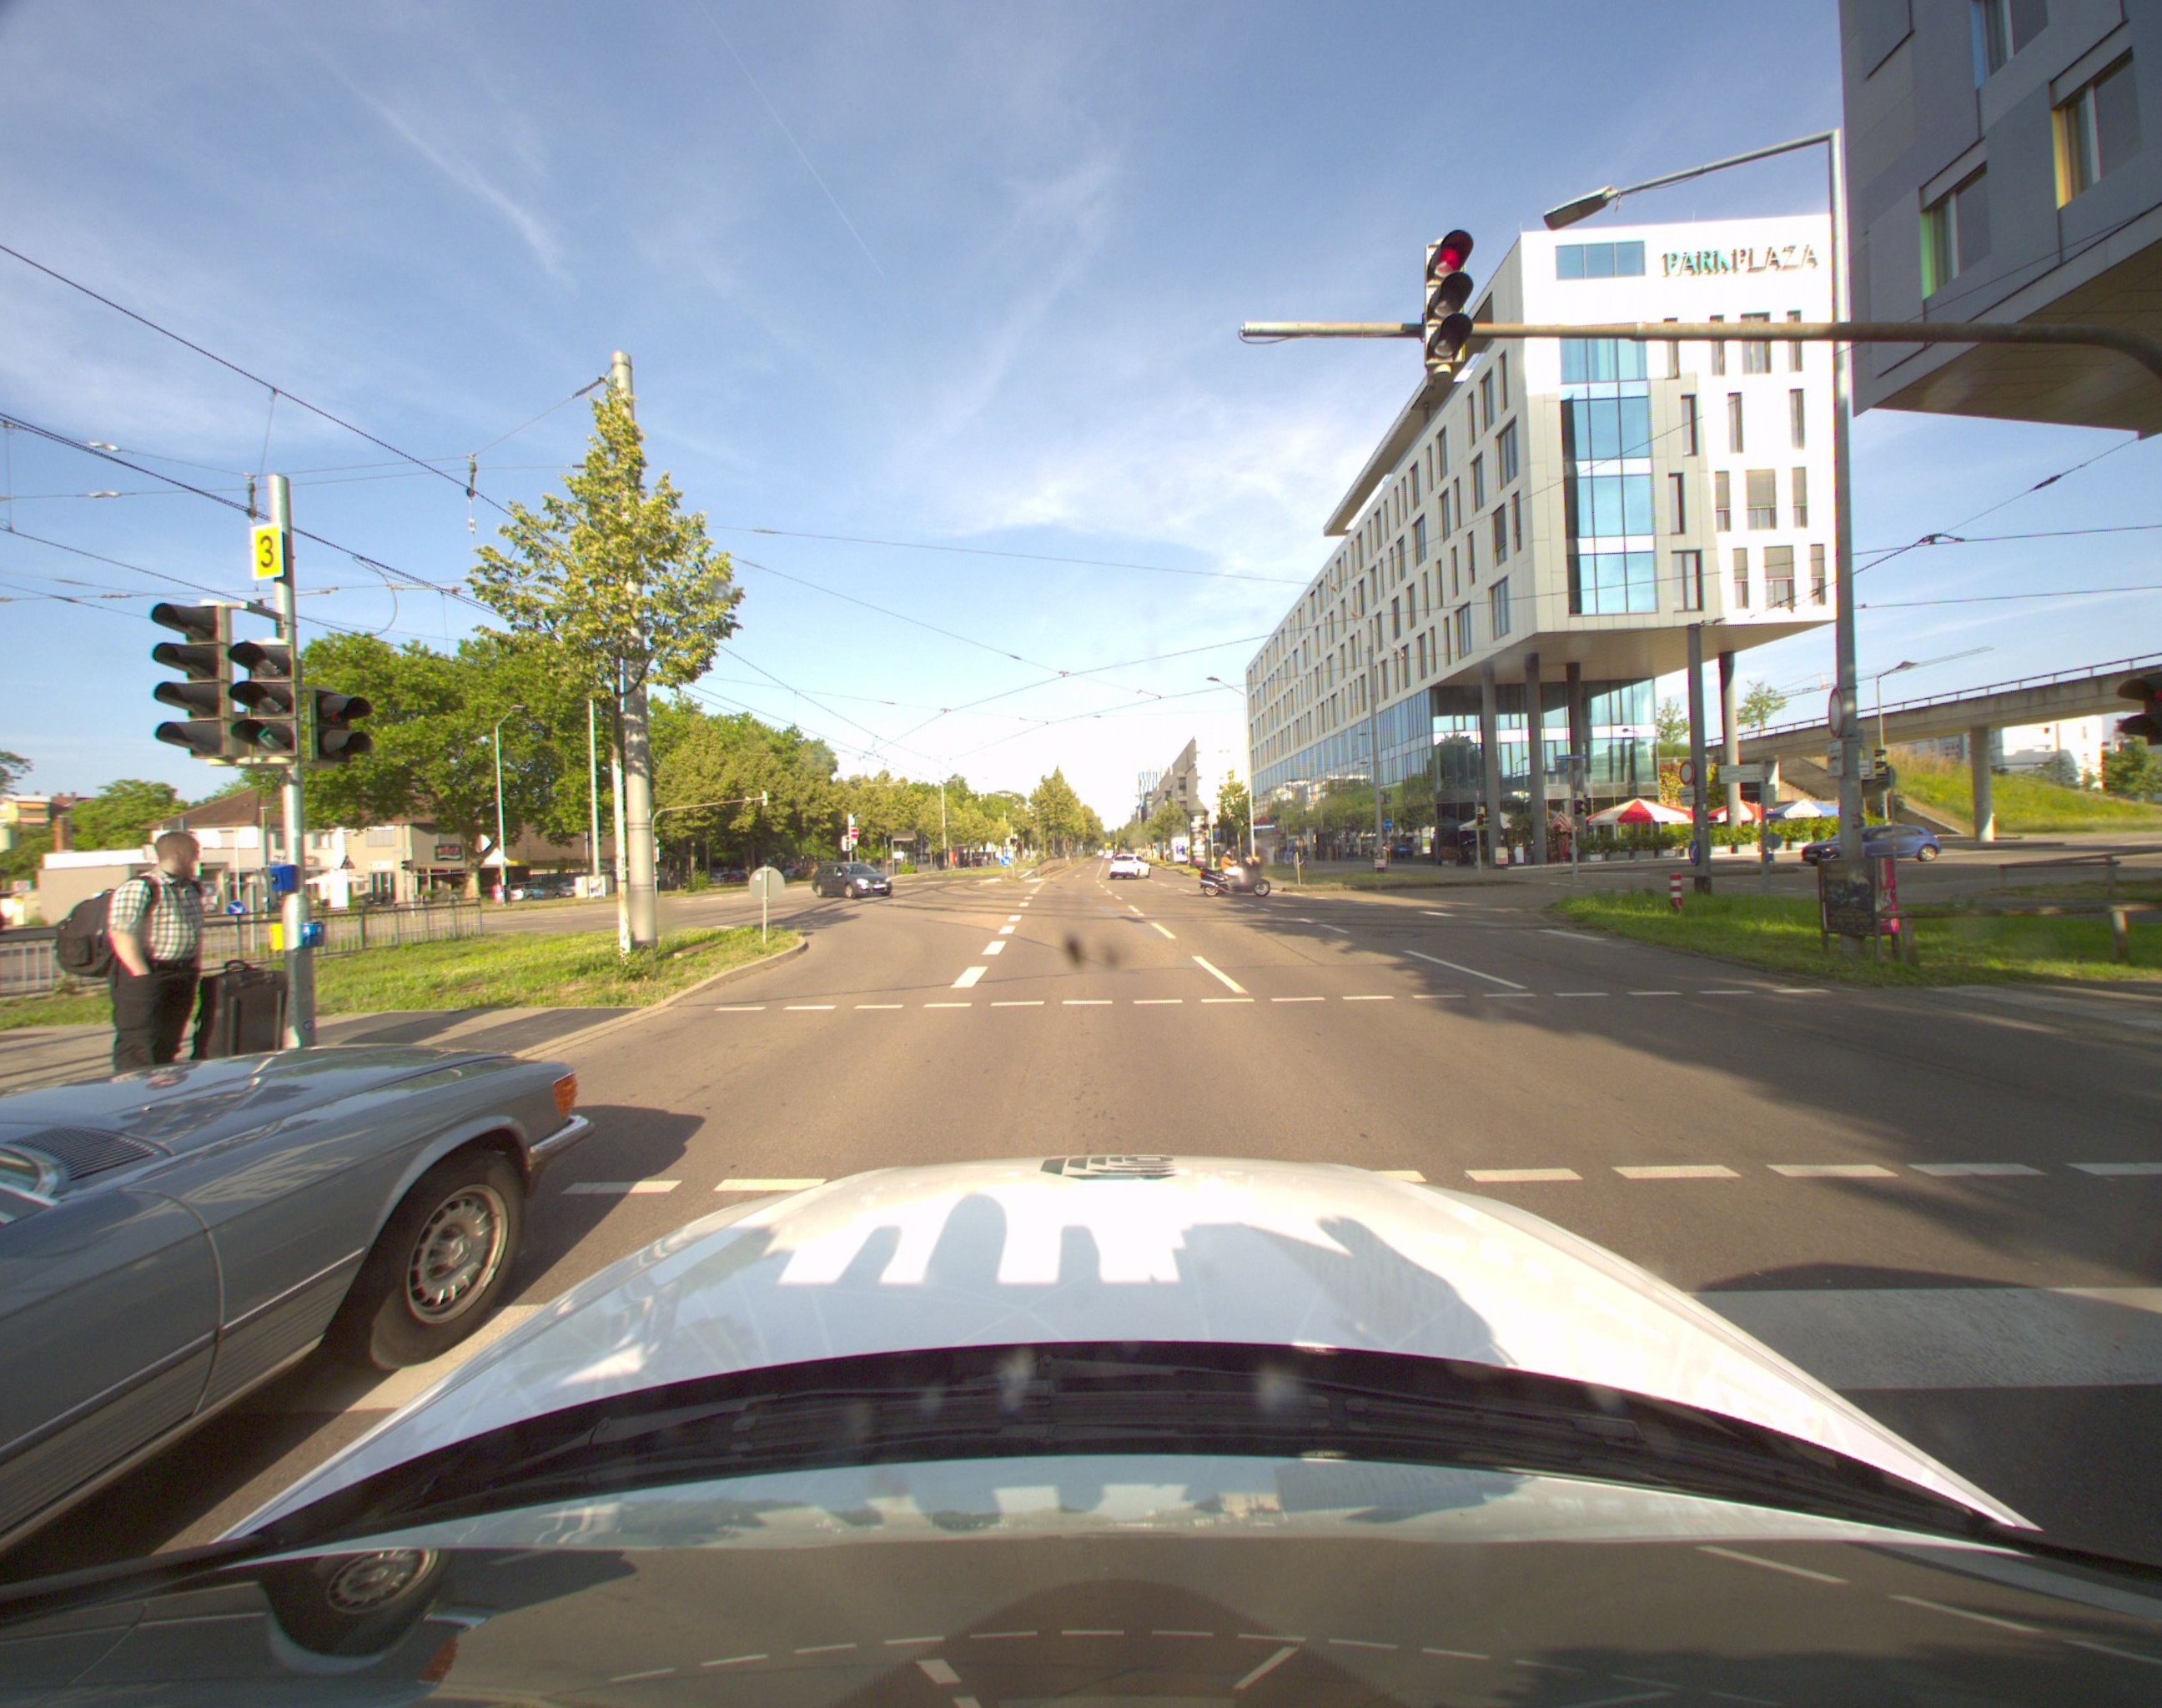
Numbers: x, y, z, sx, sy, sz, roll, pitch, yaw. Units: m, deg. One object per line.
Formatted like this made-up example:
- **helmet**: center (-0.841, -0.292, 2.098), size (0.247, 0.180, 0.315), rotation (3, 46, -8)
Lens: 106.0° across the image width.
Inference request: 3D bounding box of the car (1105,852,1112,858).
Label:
- **car**: center (7.337, 0.215, 215.640), size (1.857, 1.684, 4.003), rotation (0, 1, 2)

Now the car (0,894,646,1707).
- **car**: center (-2.805, 0.882, 1.295), size (1.757, 1.330, 4.401), rotation (-2, 1, 1)

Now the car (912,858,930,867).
- **car**: center (-28.404, 1.478, 144.660), size (1.871, 1.559, 4.008), rotation (-3, 0, 7)

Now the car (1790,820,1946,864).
- **car**: center (30.233, -0.465, 31.379), size (4.170, 1.424, 1.859), rotation (-3, 0, 1)

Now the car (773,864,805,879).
- **car**: center (-34.056, 2.067, 95.159), size (1.871, 1.559, 4.008), rotation (-3, 0, 7)

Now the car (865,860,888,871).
- **car**: center (-30.667, 1.740, 122.113), size (1.871, 1.559, 4.008), rotation (-3, 0, 7)

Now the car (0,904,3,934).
- **car**: center (-63.530, 3.795, 45.640), size (3.964, 1.728, 2.005), rotation (-2, 0, 8)

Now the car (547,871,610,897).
- **car**: center (-37.711, 2.245, 61.201), size (1.871, 1.750, 4.008), rotation (-3, 0, 7)

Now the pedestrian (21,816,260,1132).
- **pedestrian**: center (-5.684, 0.685, 4.962), size (0.697, 1.792, 0.636), rotation (-1, 0, 2)

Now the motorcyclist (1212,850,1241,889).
- **motorcyclist**: center (4.651, 0.484, 26.055), size (0.838, 1.202, 0.788), rotation (0, 0, 15)

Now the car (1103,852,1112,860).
- **car**: center (5.969, 0.439, 184.394), size (1.857, 1.684, 4.003), rotation (0, 1, 2)

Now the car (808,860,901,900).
- **car**: center (-9.427, 1.058, 33.654), size (1.744, 1.461, 4.518), rotation (-3, 1, -44)

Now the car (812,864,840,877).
- **car**: center (-32.769, 2.093, 104.588), size (1.871, 1.559, 4.008), rotation (-3, 0, 7)

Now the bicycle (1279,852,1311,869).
- **bicycle**: center (13.867, 0.399, 52.805), size (0.778, 1.032, 1.856), rotation (-2, 2, -42)

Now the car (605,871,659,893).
- **car**: center (-37.021, 2.277, 67.244), size (1.871, 1.559, 4.008), rotation (-3, 0, 7)

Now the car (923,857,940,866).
- **car**: center (-27.541, 1.411, 150.405), size (1.871, 1.559, 4.008), rotation (-3, 0, 7)

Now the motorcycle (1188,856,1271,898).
- **motorcycle**: center (4.751, 0.731, 26.024), size (2.522, 1.263, 0.824), rotation (-1, 0, 15)

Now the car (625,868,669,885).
- **car**: center (-43.781, 2.222, 82.161), size (1.871, 1.559, 4.008), rotation (-3, 0, 7)

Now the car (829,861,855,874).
- **car**: center (-32.099, 1.783, 109.657), size (1.871, 1.559, 4.008), rotation (-3, 0, 7)

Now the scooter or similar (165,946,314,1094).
- **scooter or similar**: center (-5.664, 1.103, 5.498), size (0.546, 0.907, 0.430), rotation (-1, 0, 2)

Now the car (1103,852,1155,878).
- **car**: center (2.917, 0.639, 48.659), size (1.977, 1.504, 4.113), rotation (-1, 0, 20)

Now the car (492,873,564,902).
- **car**: center (-38.228, 2.295, 56.451), size (1.871, 1.750, 4.008), rotation (-3, 0, 7)

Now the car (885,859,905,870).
- **car**: center (-29.702, 1.654, 130.018), size (1.871, 1.559, 4.008), rotation (-3, 0, 7)

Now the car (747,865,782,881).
- **car**: center (-34.746, 2.042, 89.600), size (1.871, 1.559, 4.008), rotation (-3, 0, 7)

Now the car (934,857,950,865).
- **car**: center (-26.790, 1.343, 156.816), size (1.871, 1.559, 4.008), rotation (-3, 0, 7)
